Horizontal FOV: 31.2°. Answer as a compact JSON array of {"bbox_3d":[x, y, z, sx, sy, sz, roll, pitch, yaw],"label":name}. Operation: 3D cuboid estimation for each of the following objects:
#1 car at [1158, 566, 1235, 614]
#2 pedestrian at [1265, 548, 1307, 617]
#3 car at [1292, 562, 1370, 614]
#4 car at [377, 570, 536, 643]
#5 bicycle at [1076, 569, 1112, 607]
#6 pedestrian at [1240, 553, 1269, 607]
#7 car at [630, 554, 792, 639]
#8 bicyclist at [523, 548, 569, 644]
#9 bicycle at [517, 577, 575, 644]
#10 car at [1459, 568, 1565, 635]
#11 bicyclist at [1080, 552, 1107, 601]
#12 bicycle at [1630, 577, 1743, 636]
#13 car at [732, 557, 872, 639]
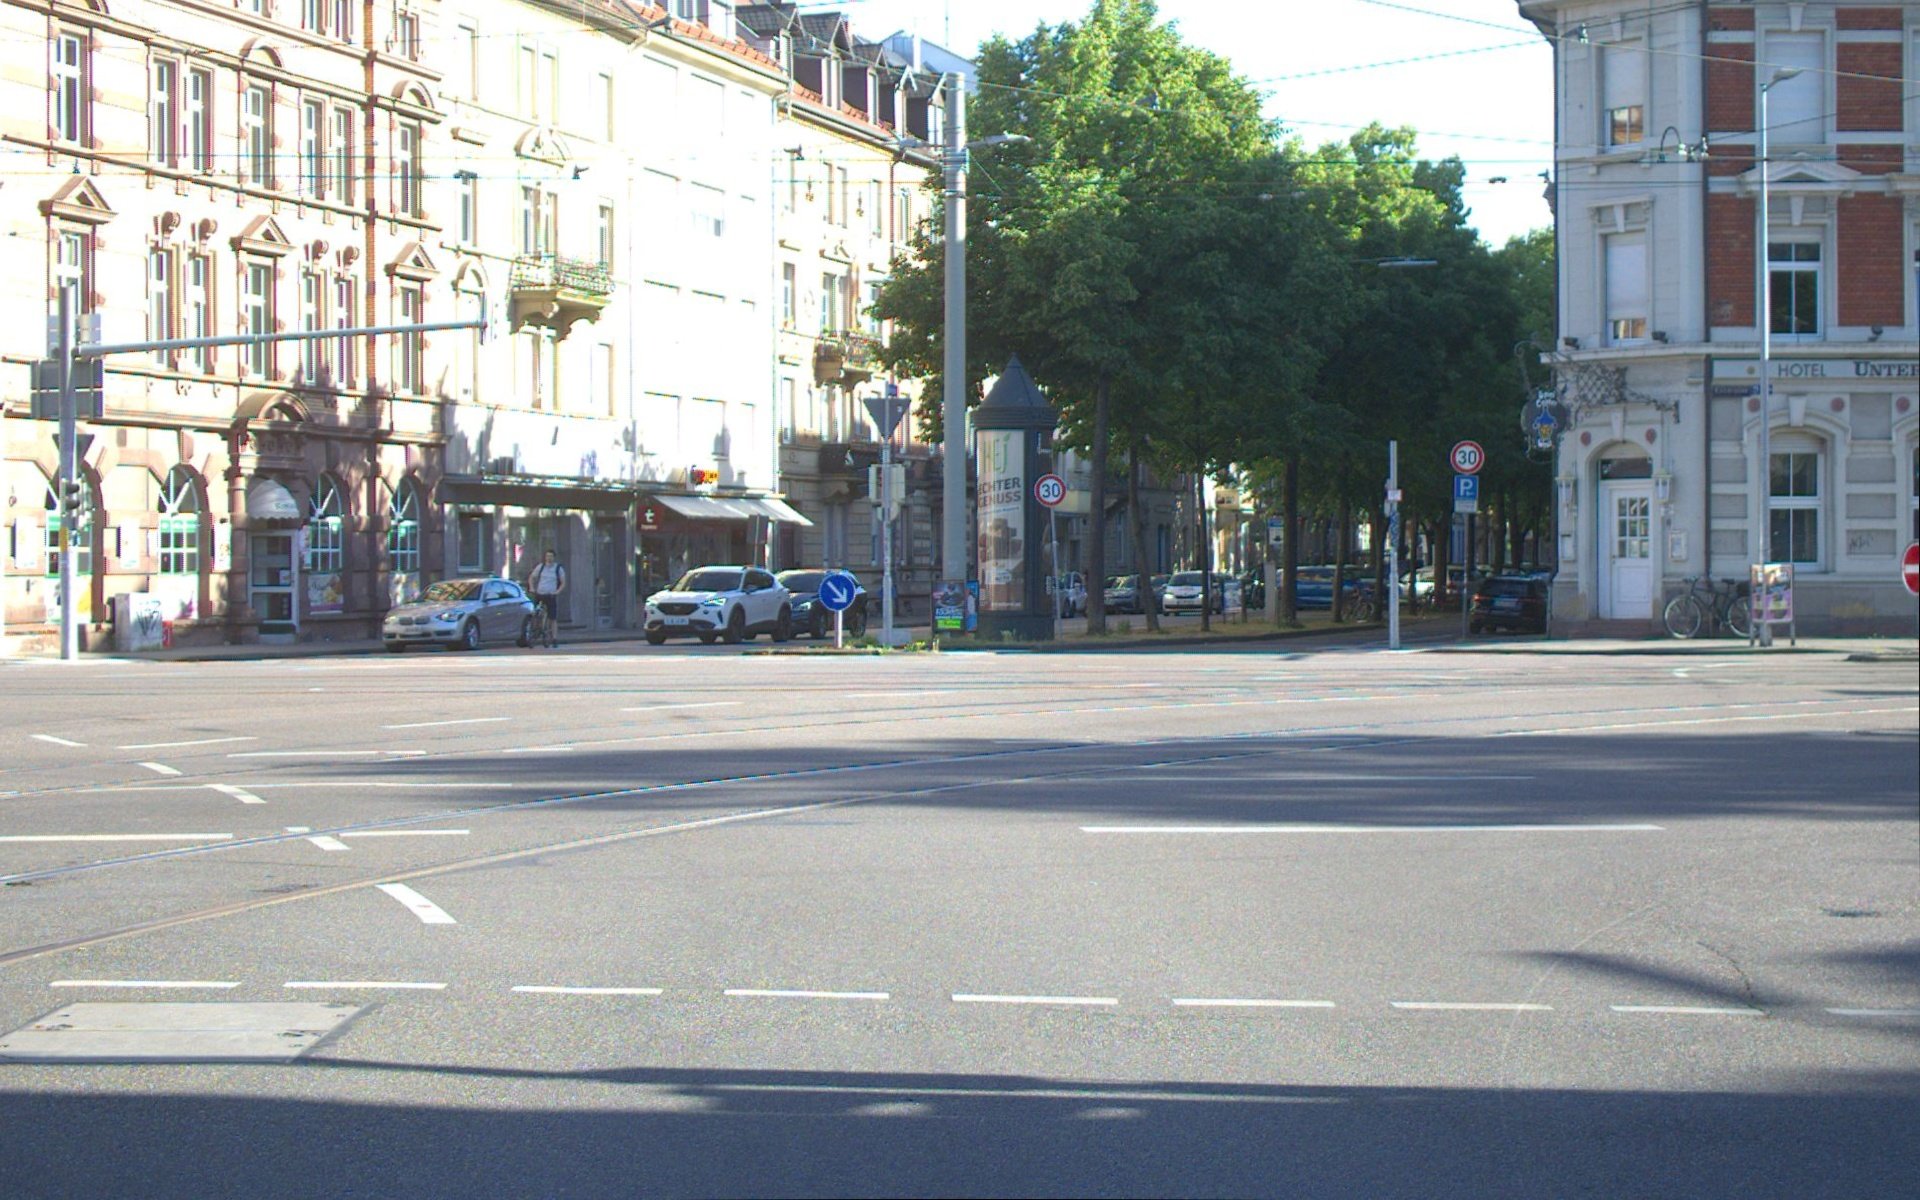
[{"bbox_3d":[7.894,-0.337,114.536,1.804,1.570,3.888,1,1,15],"label":"car"},{"bbox_3d":[9.616,-0.515,101.396,0.961,2.007,0.919,1,0,-13],"label":"pedestrian"},{"bbox_3d":[12.598,-0.412,116.490,1.995,1.678,3.997,1,1,15],"label":"car"},{"bbox_3d":[-9.782,0.109,67.044,1.661,1.369,3.889,1,1,15],"label":"car"},{"bbox_3d":[4.278,-0.383,109.991,0.674,1.203,1.820,1,1,18],"label":"bicycle"},{"bbox_3d":[11.068,-0.738,129.132,0.944,2.007,0.826,1,0,14],"label":"pedestrian"},{"bbox_3d":[-4.833,-0.085,67.279,1.804,1.579,4.156,1,1,17],"label":"car"},{"bbox_3d":[-7.839,-0.086,65.121,0.565,1.797,0.913,1,0,15],"label":"bicyclist"},{"bbox_3d":[-7.835,0.197,65.116,0.565,1.250,1.556,1,0,14],"label":"bicycle"},{"bbox_3d":[13.275,0.027,82.522,1.758,1.550,3.996,1,1,20],"label":"car"},{"bbox_3d":[4.283,-0.755,109.991,0.674,1.563,0.747,1,0,18],"label":"bicyclist"},{"bbox_3d":[12.073,0.105,57.120,1.804,0.959,0.603,1,0,14],"label":"bicycle"},{"bbox_3d":[-3.356,-0.055,73.616,1.826,1.679,3.872,1,1,16],"label":"car"}]
